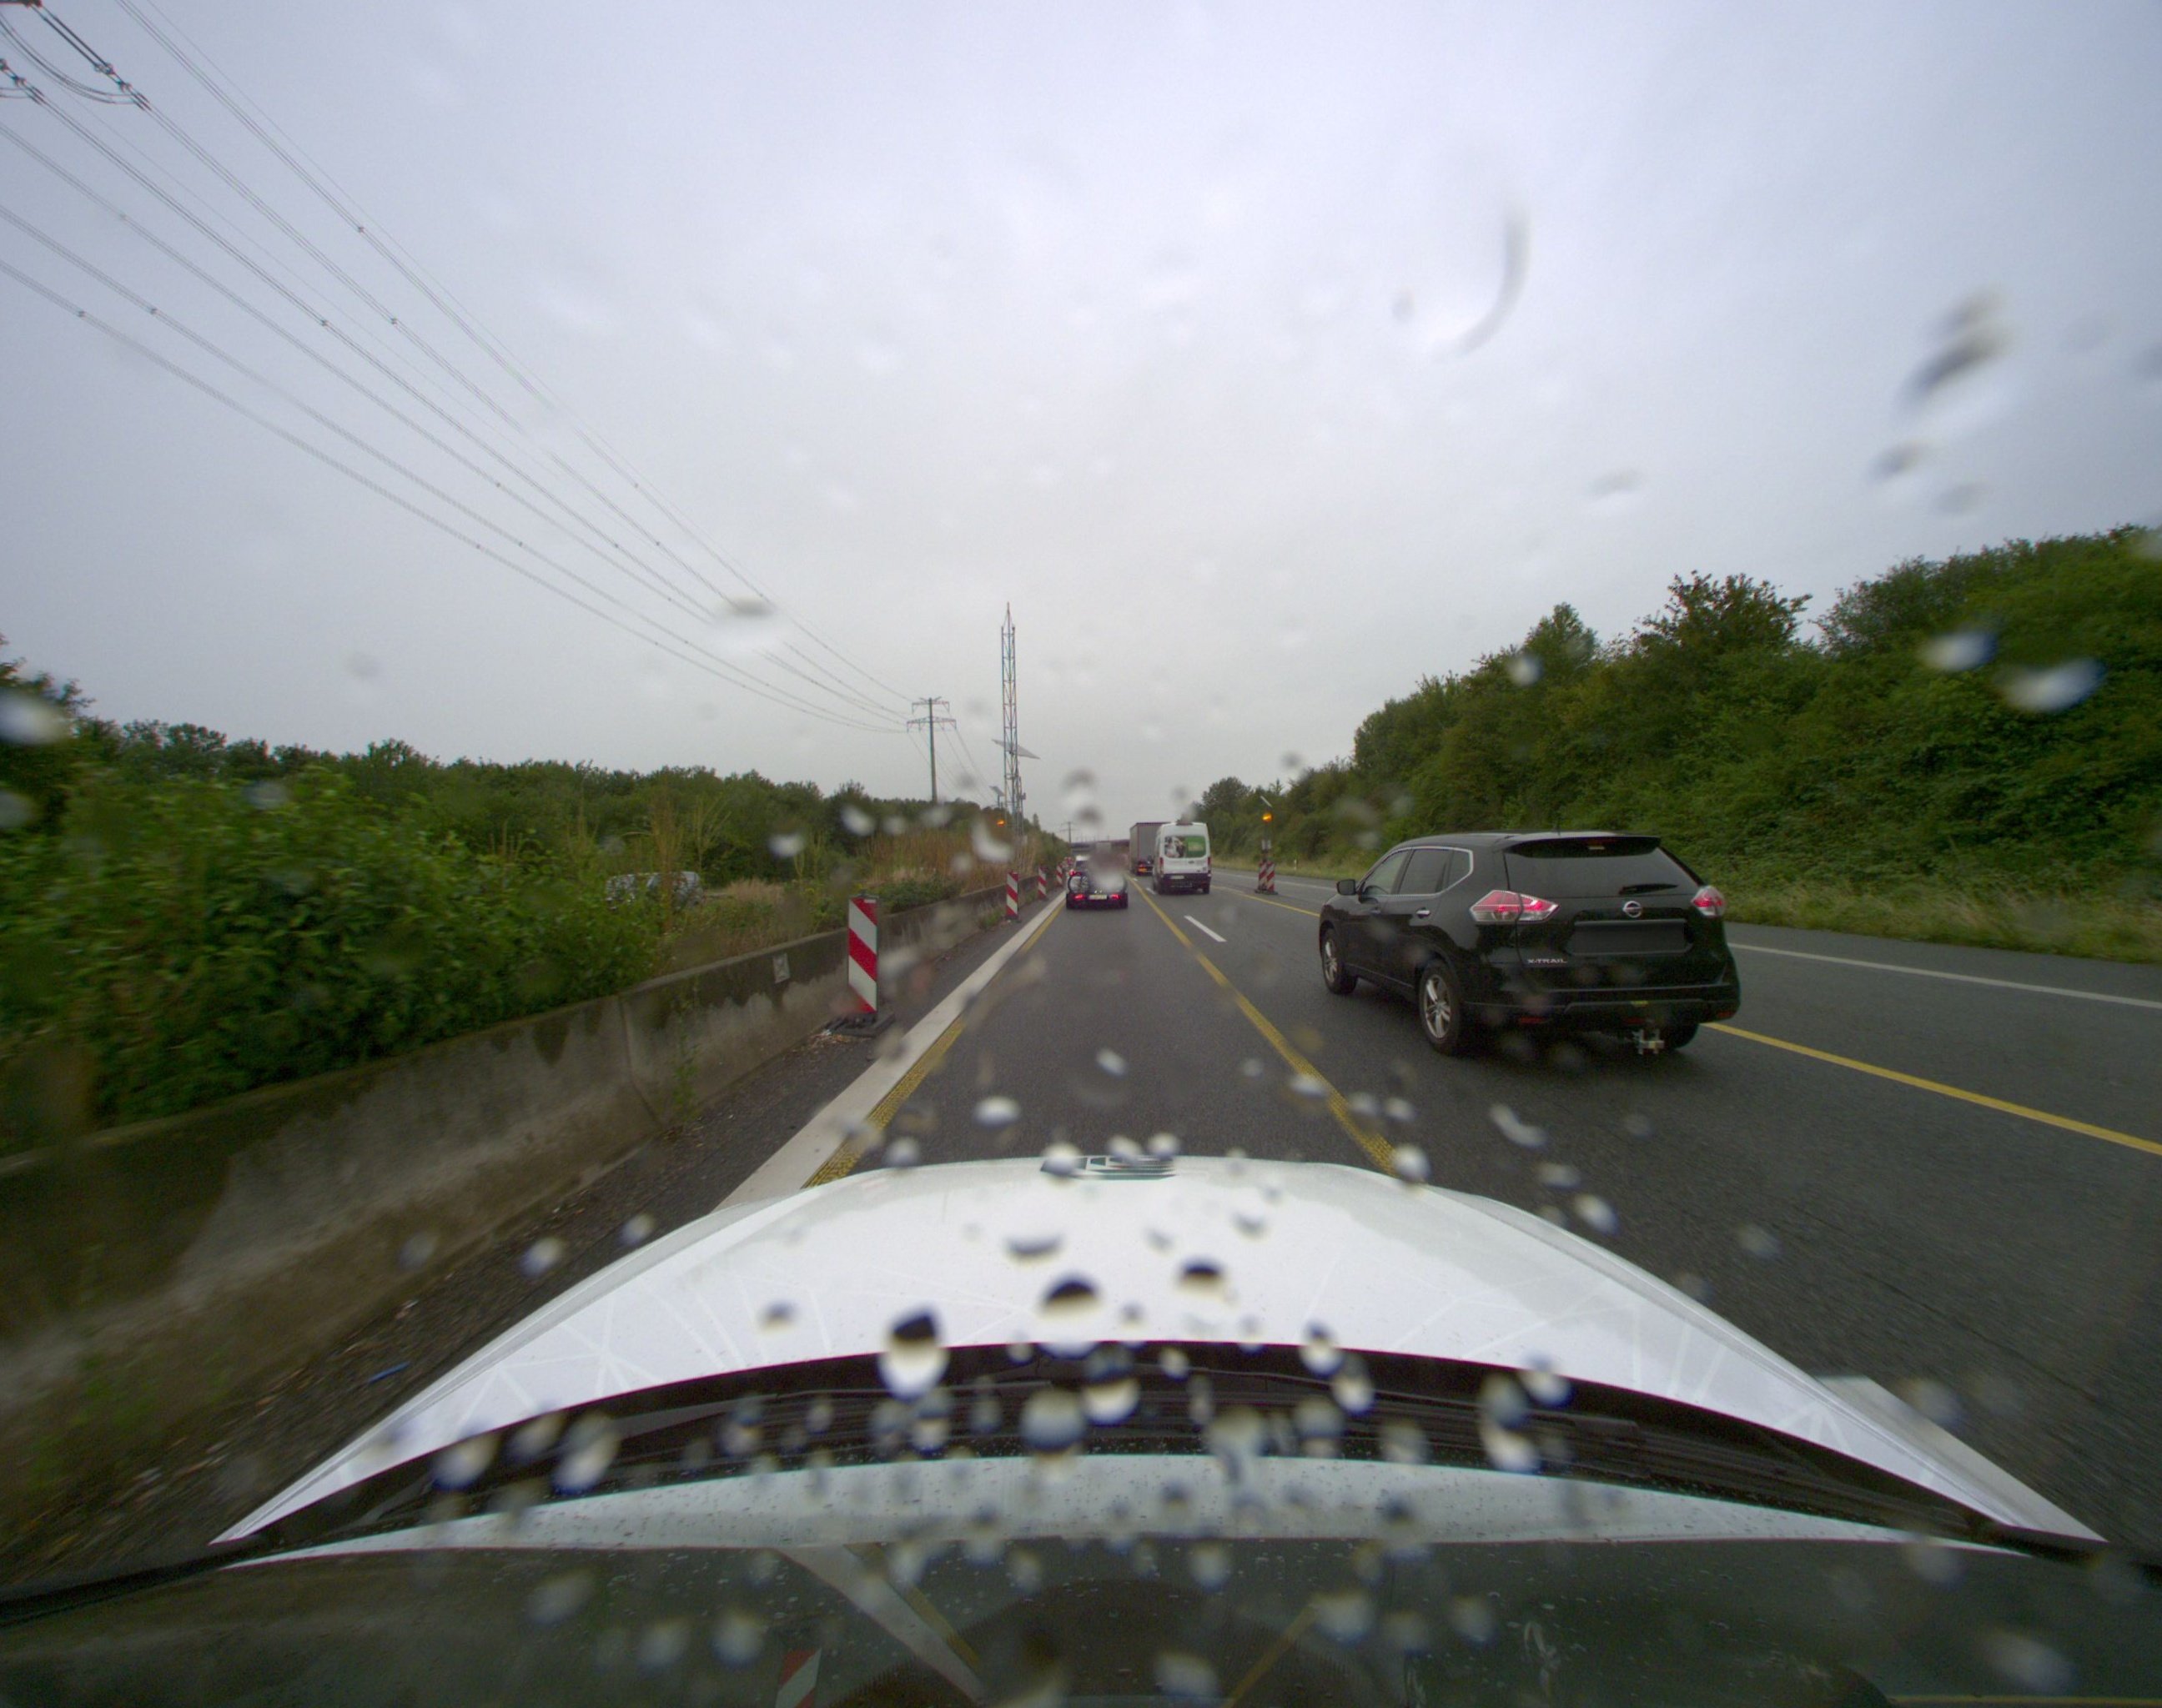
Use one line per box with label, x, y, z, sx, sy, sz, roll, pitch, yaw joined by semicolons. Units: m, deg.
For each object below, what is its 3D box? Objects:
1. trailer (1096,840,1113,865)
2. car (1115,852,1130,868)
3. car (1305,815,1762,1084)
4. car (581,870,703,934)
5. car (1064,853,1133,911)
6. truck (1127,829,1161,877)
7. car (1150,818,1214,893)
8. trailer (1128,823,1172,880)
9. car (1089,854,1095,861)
trailer;4.040;-0.305;141.218;2.683;4.076;13.636;-1;0;1
car;5.265;0.755;103.687;1.823;1.839;4.656;-1;0;1
car;3.444;0.604;7.274;1.679;1.658;4.280;-1;0;0
car;-14.842;1.561;27.827;1.695;1.824;4.268;-4;0;1
car;0.528;0.764;24.531;1.843;1.531;4.770;-1;0;1
truck;5.739;-0.069;74.489;2.696;4.138;5.692;-1;0;1
car;4.058;0.065;33.689;1.986;2.783;5.757;-2;0;1
trailer;5.483;-0.183;66.846;2.696;4.146;13.736;-1;0;2
car;3.612;1.091;262.743;1.924;1.973;4.001;-1;1;1
